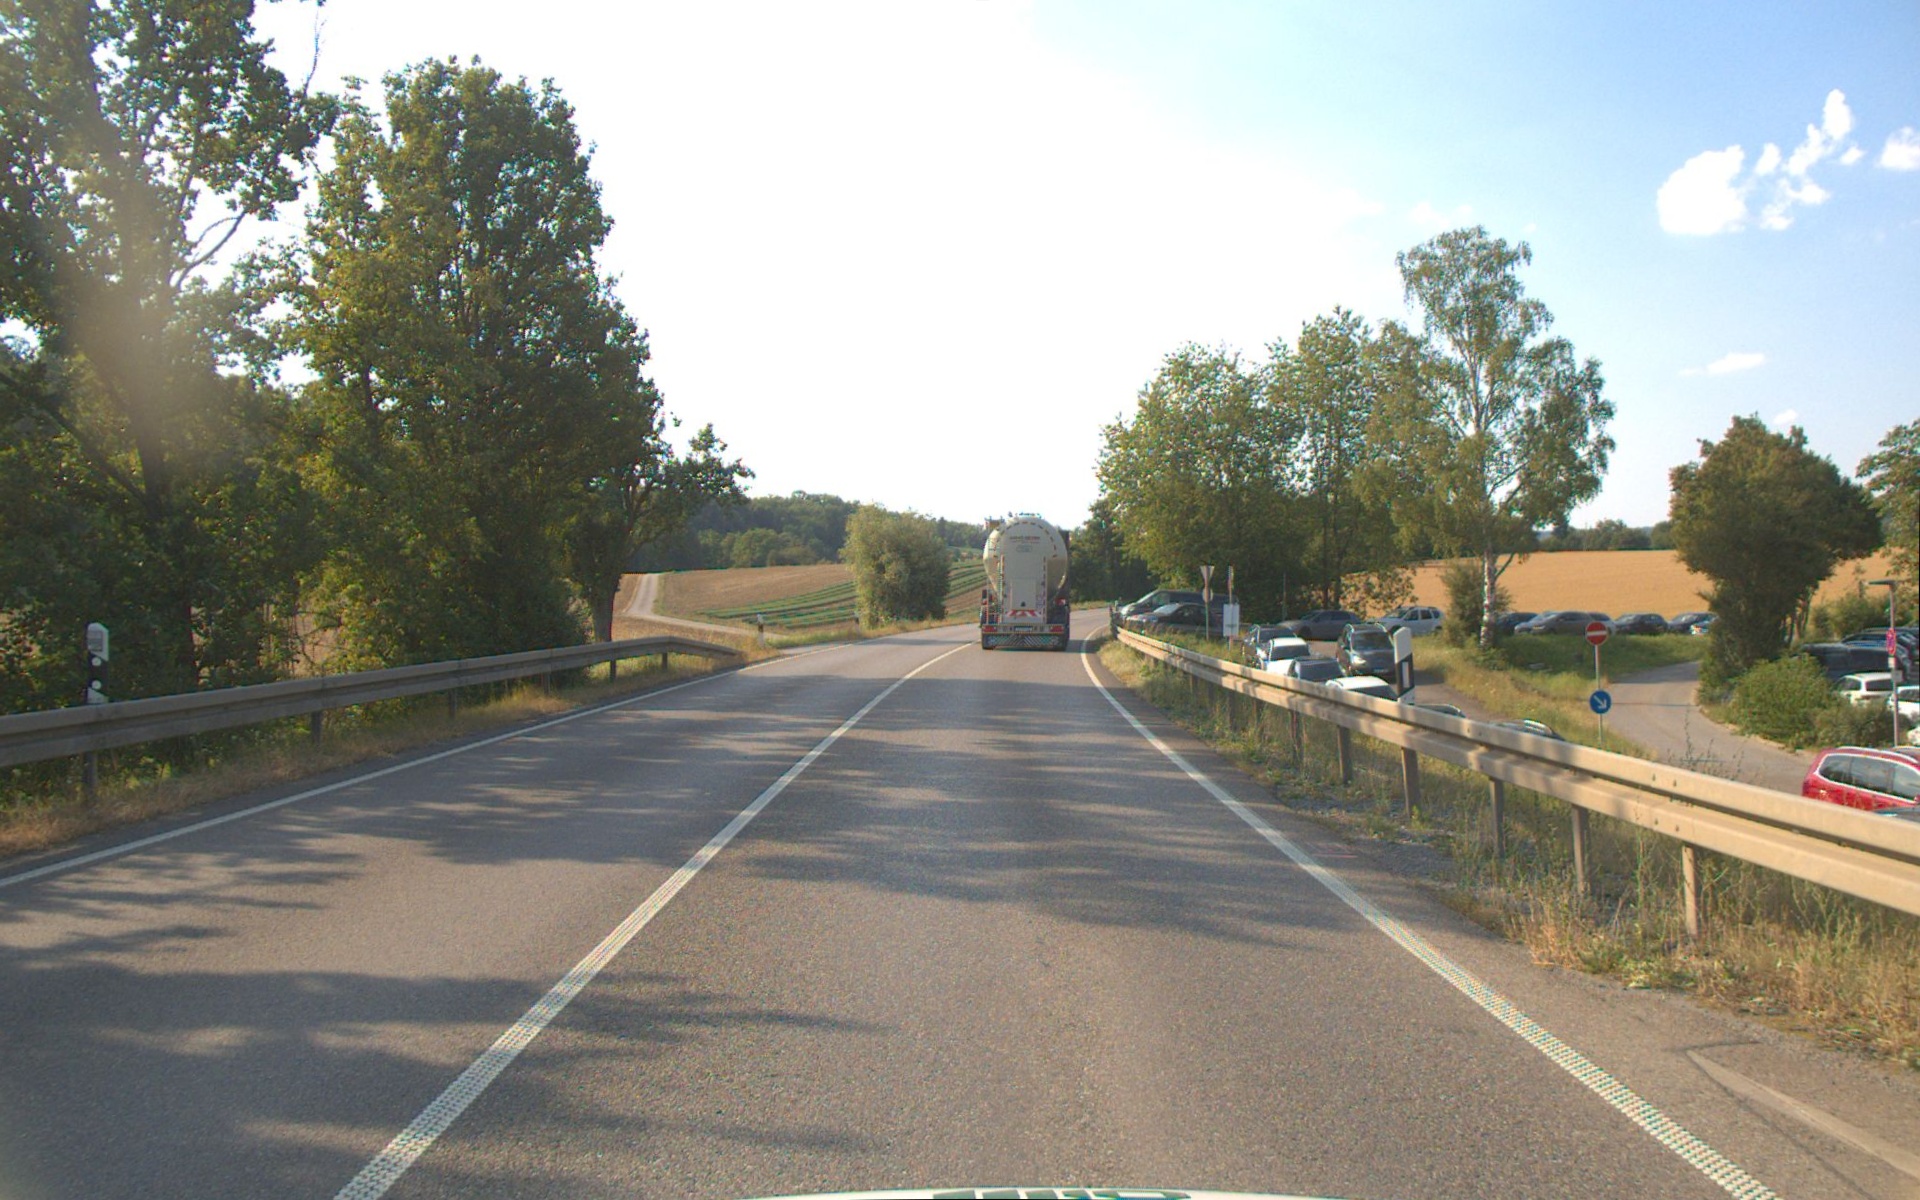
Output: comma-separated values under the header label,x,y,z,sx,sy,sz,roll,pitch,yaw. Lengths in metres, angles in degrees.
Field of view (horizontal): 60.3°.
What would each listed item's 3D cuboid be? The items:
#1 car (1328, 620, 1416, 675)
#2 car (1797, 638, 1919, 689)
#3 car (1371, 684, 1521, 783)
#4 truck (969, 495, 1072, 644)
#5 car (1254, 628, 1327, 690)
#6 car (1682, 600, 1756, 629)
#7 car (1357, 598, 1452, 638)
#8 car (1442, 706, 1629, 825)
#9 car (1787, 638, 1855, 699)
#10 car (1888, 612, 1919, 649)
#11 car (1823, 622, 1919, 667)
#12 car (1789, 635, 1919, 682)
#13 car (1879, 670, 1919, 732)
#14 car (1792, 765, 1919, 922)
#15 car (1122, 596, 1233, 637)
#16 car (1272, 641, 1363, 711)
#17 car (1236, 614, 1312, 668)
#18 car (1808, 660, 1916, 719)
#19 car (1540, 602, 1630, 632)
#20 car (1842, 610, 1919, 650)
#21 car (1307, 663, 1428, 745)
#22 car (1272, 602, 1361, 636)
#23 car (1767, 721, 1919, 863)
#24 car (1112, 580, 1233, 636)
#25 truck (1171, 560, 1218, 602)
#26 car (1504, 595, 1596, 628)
label,x,y,z,sx,sy,sz,roll,pitch,yaw
car,13.851,1.556,55.861,1.853,1.704,4.783,-1,0,2
car,33.369,2.315,60.926,4.493,1.720,1.801,0,0,28
car,11.015,2.977,37.815,1.854,1.586,4.782,-4,2,-1
truck,2.146,-0.910,53.372,2.832,4.215,13.179,0,0,4
car,10.939,1.921,55.010,1.852,1.586,4.787,-3,2,6
car,40.592,0.790,88.420,3.882,1.466,1.792,1,0,-32
car,21.269,0.839,79.141,4.147,1.778,1.799,-2,1,-23
car,11.177,3.170,32.525,1.854,1.586,4.782,-4,2,-1
car,29.616,2.310,57.001,1.761,1.874,4.595,0,0,24
car,46.666,1.442,78.272,1.788,1.720,4.526,-1,0,-42
car,37.647,1.777,66.889,1.788,1.720,4.526,-1,0,-42
car,35.389,2.291,65.572,4.493,1.720,1.801,0,0,28
car,26.766,2.766,44.470,1.762,1.570,3.998,-1,0,-3
car,13.144,3.262,21.167,1.859,1.586,4.769,-4,2,-12
car,9.064,0.694,68.934,4.254,1.424,1.708,3,1,-24
car,10.671,2.238,49.678,1.852,1.586,4.785,-4,2,3
car,11.381,1.455,60.211,1.853,1.586,4.784,-4,2,1
car,27.388,2.683,50.348,1.652,1.512,4.296,-1,1,11
car,32.414,0.874,85.748,4.582,1.533,1.979,0,0,-32
car,42.602,1.352,74.749,1.788,1.720,4.526,-1,0,-42
car,10.674,2.681,43.677,1.854,1.586,4.782,-4,2,-1
car,16.573,0.891,76.942,3.666,1.466,1.800,1,0,-22
car,15.371,3.092,26.444,1.857,1.716,5.076,-2,2,-9
car,9.309,0.350,72.775,5.034,1.977,1.976,5,1,3
truck,25.395,-2.074,178.493,3.116,4.301,13.181,-1,1,16
car,28.467,0.565,79.711,4.532,1.466,1.791,1,0,-33
